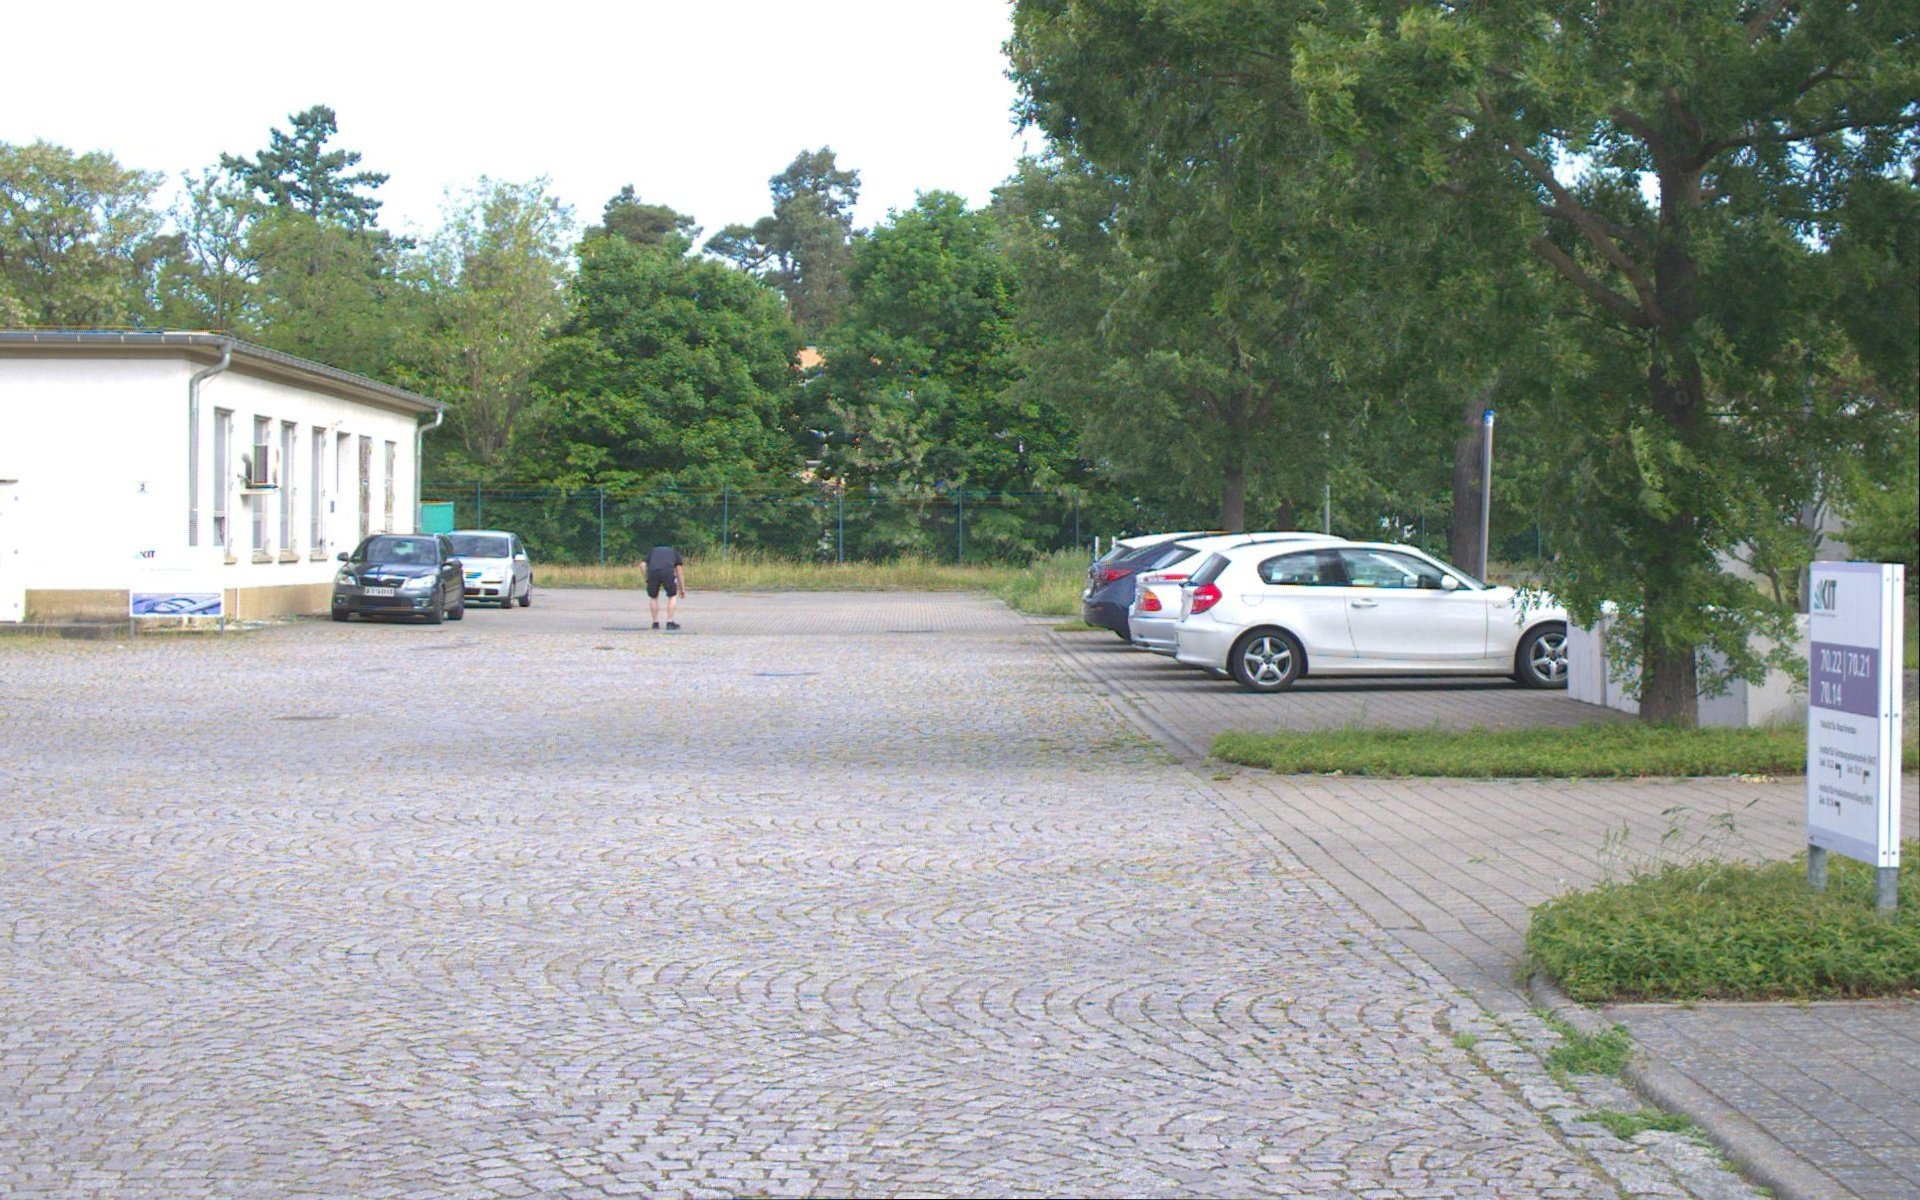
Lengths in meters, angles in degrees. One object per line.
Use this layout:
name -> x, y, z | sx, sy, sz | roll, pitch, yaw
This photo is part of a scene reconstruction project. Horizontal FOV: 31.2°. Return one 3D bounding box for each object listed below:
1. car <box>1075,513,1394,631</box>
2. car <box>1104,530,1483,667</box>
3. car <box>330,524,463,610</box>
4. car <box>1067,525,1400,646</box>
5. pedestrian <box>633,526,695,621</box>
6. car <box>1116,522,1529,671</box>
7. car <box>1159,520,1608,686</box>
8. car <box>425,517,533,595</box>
car -> 3.632, -0.385, 46.017 | 3.986, 1.528, 2.000 | 0, 1, -4
car -> 3.628, -0.033, 37.902 | 3.987, 1.450, 1.770 | 0, 1, 0
car -> -9.223, -0.564, 56.543 | 1.748, 1.359, 4.001 | 0, 1, -3
car -> 3.362, -0.198, 42.802 | 3.987, 1.450, 1.770 | 0, 1, 0
pedestrian -> -4.886, -0.445, 56.784 | 0.940, 1.563, 0.971 | 0, 1, 0
car -> 3.625, -0.051, 34.860 | 3.987, 1.450, 1.697 | 0, 1, 0
car -> 3.959, 0.020, 32.695 | 3.987, 1.450, 2.000 | 1, 0, 0
car -> -9.271, -0.864, 66.513 | 1.748, 1.449, 4.001 | 0, 1, -3
